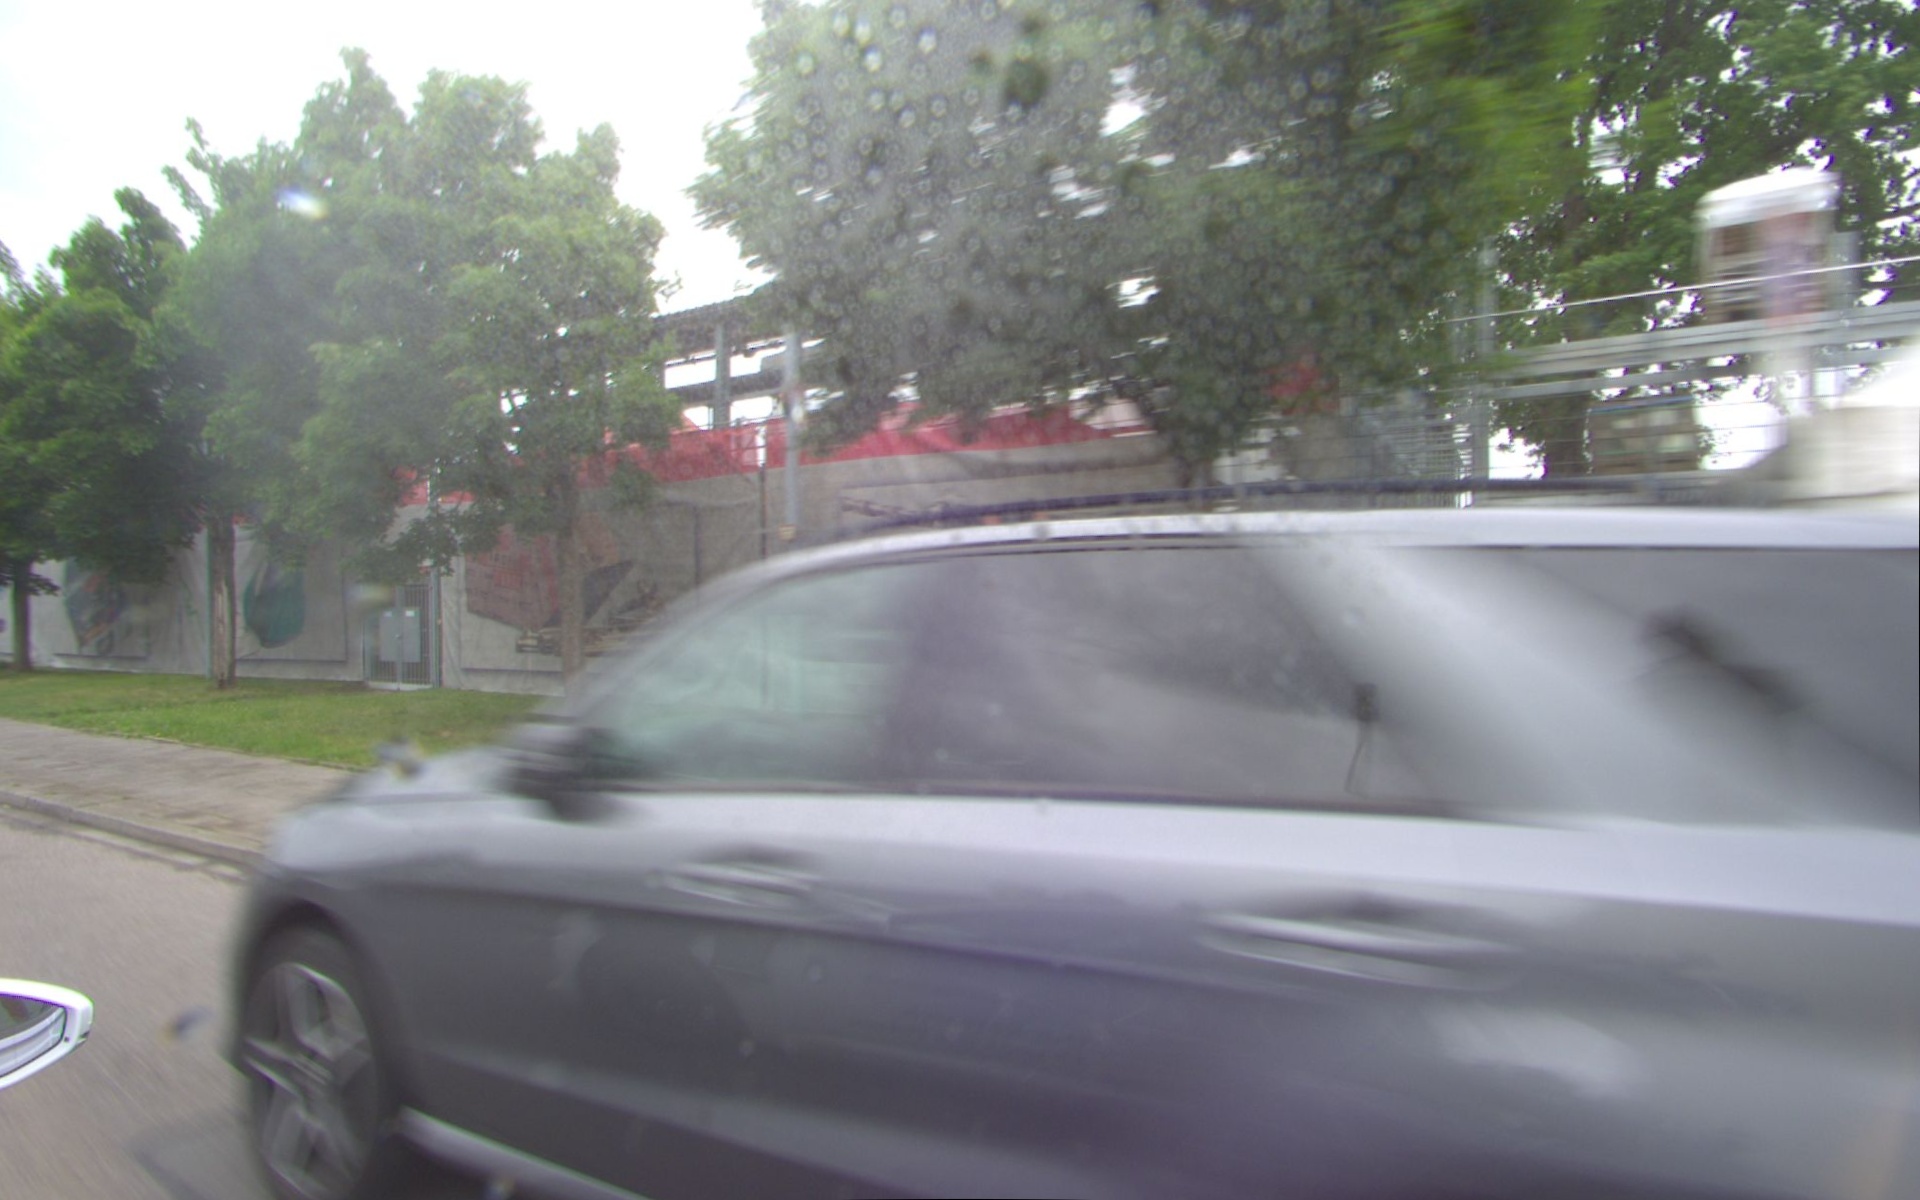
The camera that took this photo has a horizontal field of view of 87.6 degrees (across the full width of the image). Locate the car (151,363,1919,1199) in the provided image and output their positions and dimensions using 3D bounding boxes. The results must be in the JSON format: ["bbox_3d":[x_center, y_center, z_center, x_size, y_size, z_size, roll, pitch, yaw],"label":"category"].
[{"bbox_3d":[-0.009,0.728,2.630,4.415,1.762,1.907,-1,-3,32],"label":"car"}]
